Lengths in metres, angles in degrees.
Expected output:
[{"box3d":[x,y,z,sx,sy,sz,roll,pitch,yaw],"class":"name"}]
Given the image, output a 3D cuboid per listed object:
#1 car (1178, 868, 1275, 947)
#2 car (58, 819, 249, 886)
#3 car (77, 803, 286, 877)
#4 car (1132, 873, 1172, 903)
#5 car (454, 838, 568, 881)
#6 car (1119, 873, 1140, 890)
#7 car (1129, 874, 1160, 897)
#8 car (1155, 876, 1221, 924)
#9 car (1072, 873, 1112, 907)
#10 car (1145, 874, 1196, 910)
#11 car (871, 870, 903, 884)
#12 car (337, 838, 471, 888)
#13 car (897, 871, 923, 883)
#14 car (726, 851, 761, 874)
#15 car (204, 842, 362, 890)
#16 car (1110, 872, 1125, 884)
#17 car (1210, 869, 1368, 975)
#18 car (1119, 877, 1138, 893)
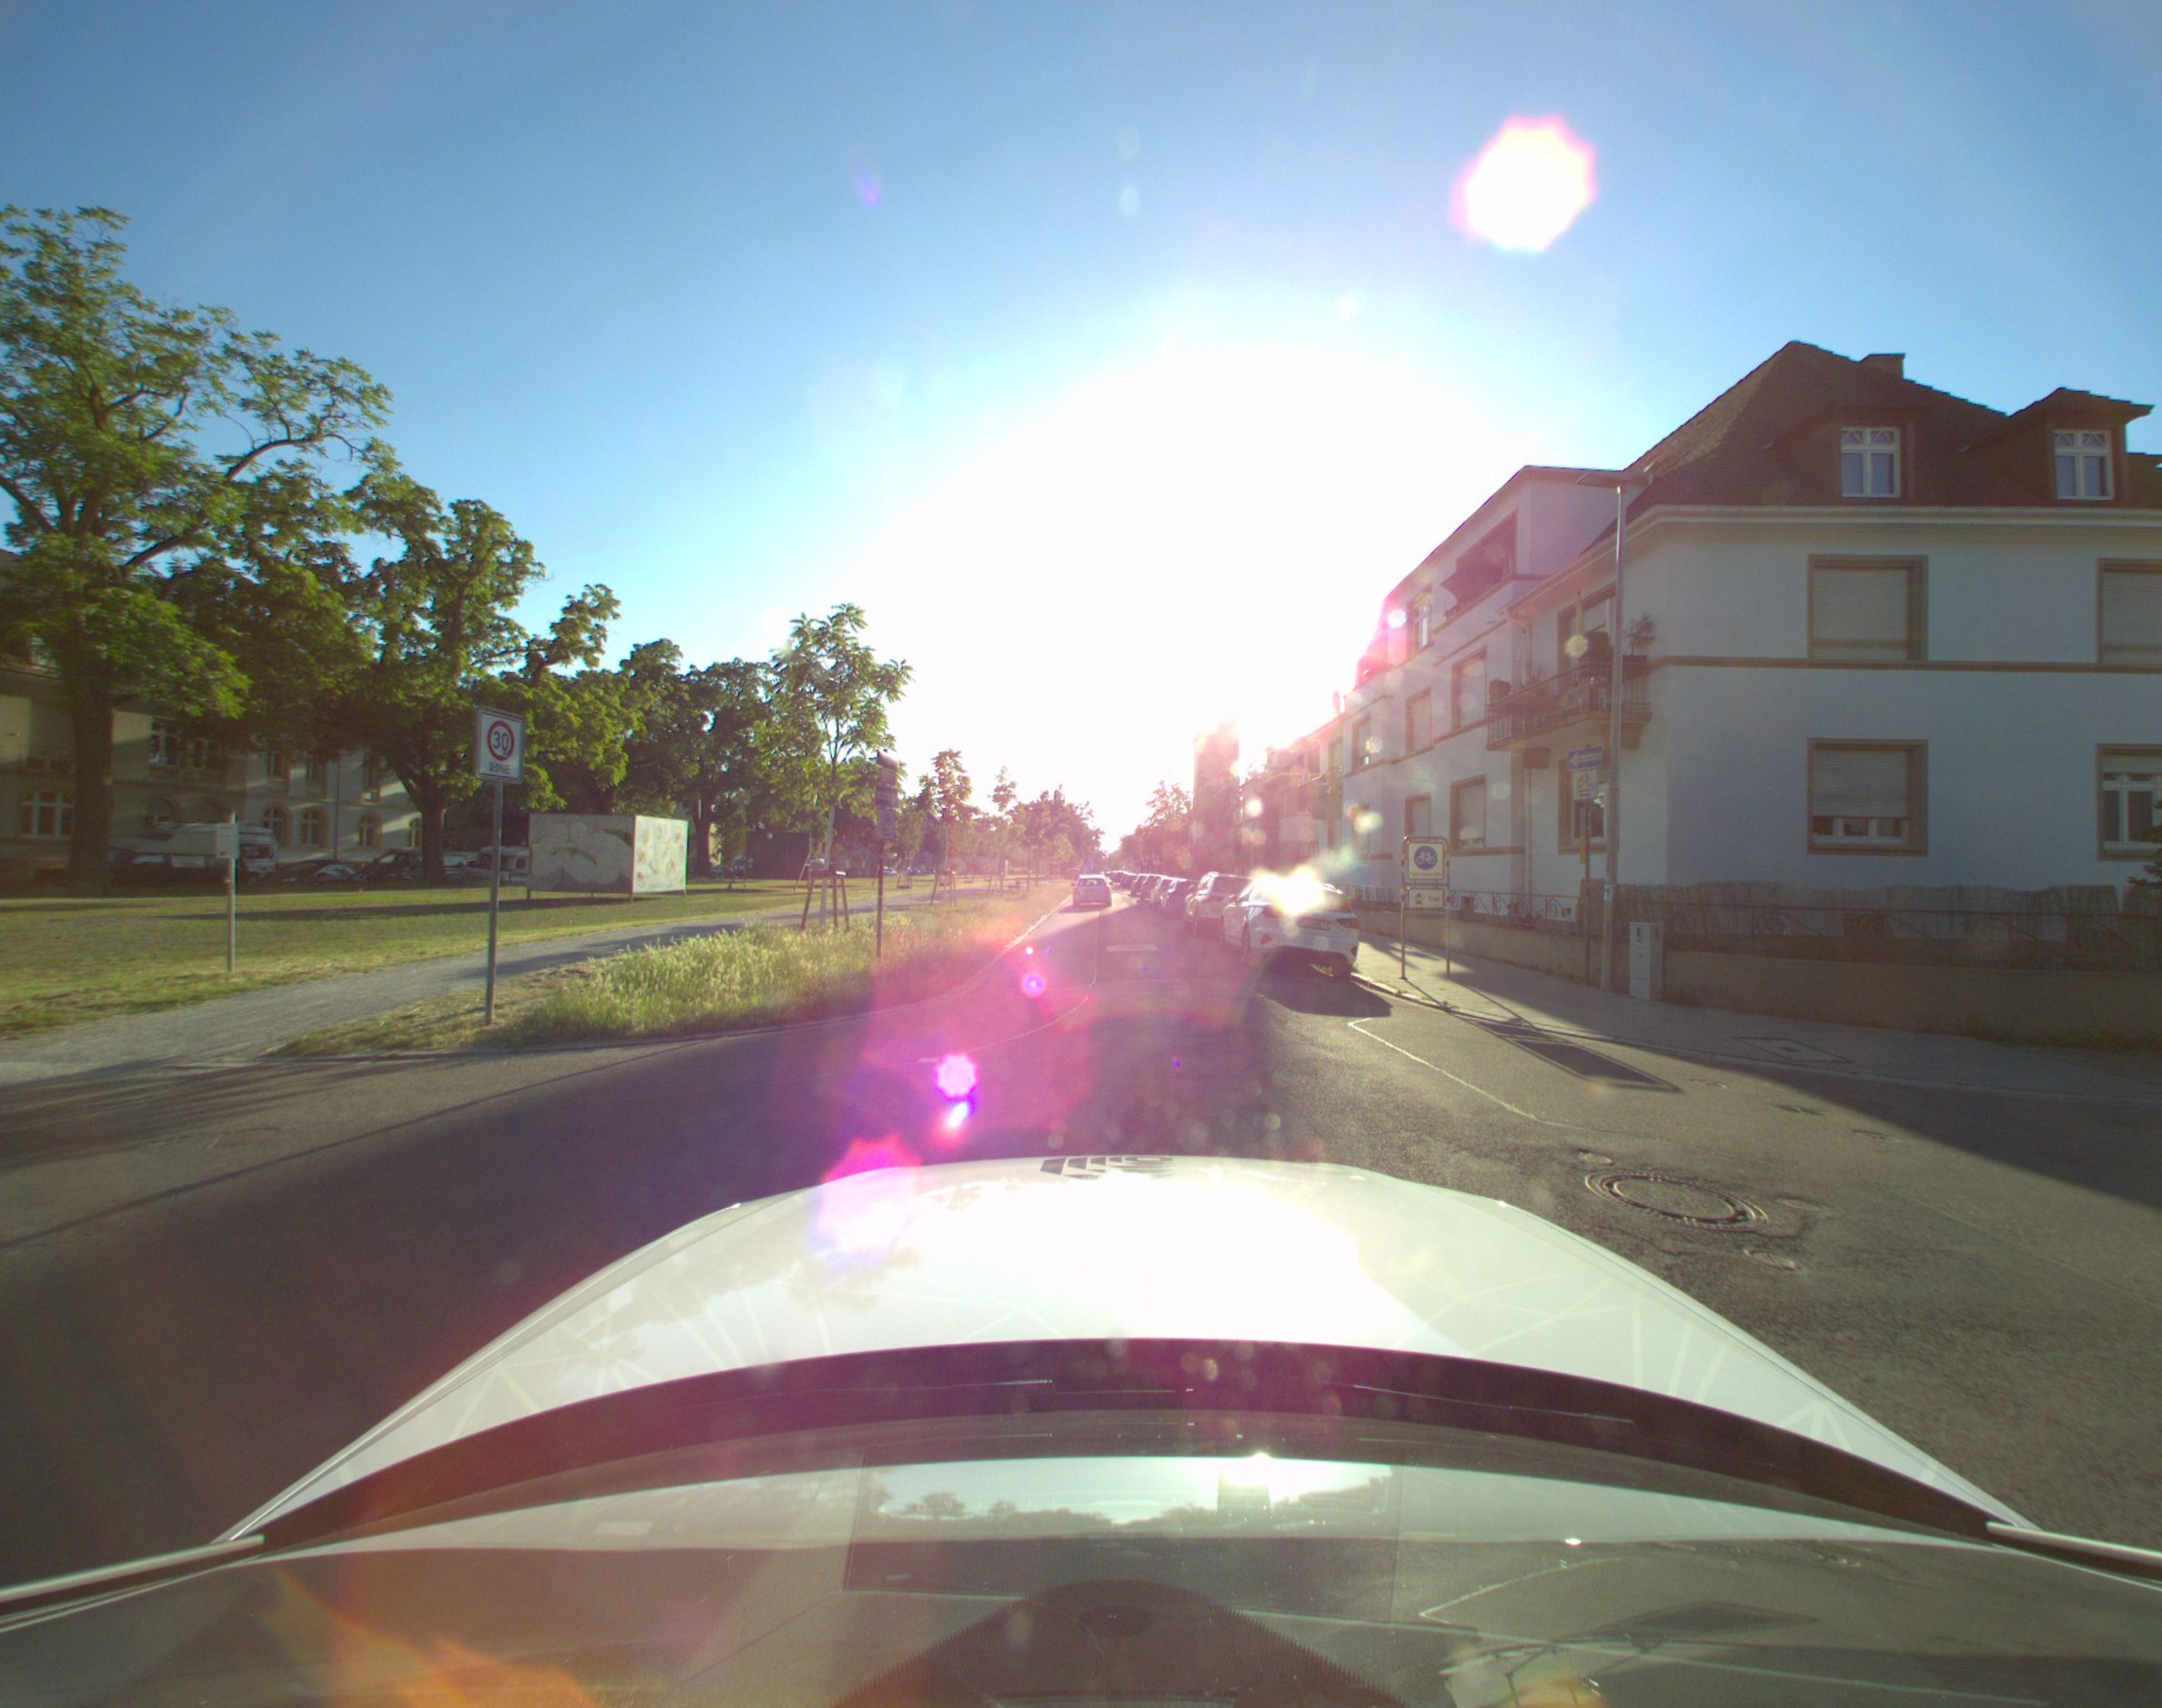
[{"box3d":[3.589,1.289,20.821,1.679,1.651,4.100,6,-1,1],"class":"car"},{"box3d":[-32.983,0.000,29.180,1.678,2.176,4.316,2,-2,2],"class":"car"},{"box3d":[-38.688,-0.469,35.364,2.429,2.922,5.818,0,-2,1],"class":"car"},{"box3d":[3.893,1.864,45.211,1.755,1.521,3.999,3,-1,0],"class":"car"},{"box3d":[-32.750,0.337,47.045,2.525,2.236,5.460,1,-1,2],"class":"car"},{"box3d":[4.855,2.751,81.845,1.986,1.629,4.002,2,-1,2],"class":"car"},{"box3d":[4.324,2.140,56.030,1.986,1.464,4.002,2,-1,2],"class":"car"},{"box3d":[3.822,1.609,29.668,1.755,1.420,3.999,7,-1,0],"class":"car"},{"box3d":[0.498,1.635,37.942,1.755,1.420,3.999,-2,-1,0],"class":"car"},{"box3d":[3.804,1.594,35.195,1.755,1.420,3.999,1,-1,0],"class":"car"},{"box3d":[-31.349,3.801,131.950,3.147,2.148,6.895,0,-2,2],"class":"car"},{"box3d":[-32.830,0.485,39.727,1.986,2.250,5.187,2,-2,1],"class":"car"},{"box3d":[-31.418,4.243,149.678,3.147,2.148,6.112,0,-2,2],"class":"car"},{"box3d":[-37.668,0.980,91.098,1.986,2.410,4.364,0,-2,2],"class":"car"},{"box3d":[-33.038,0.528,33.938,1.986,1.793,4.486,2,-1,2],"class":"car"},{"box3d":[5.206,3.386,116.514,1.973,1.683,4.002,2,-2,2],"class":"car"},{"box3d":[3.583,1.102,14.838,1.753,1.605,4.358,2,-1,0],"class":"car"},{"box3d":[5.140,3.318,88.187,1.986,1.629,4.002,2,-1,2],"class":"car"}]
